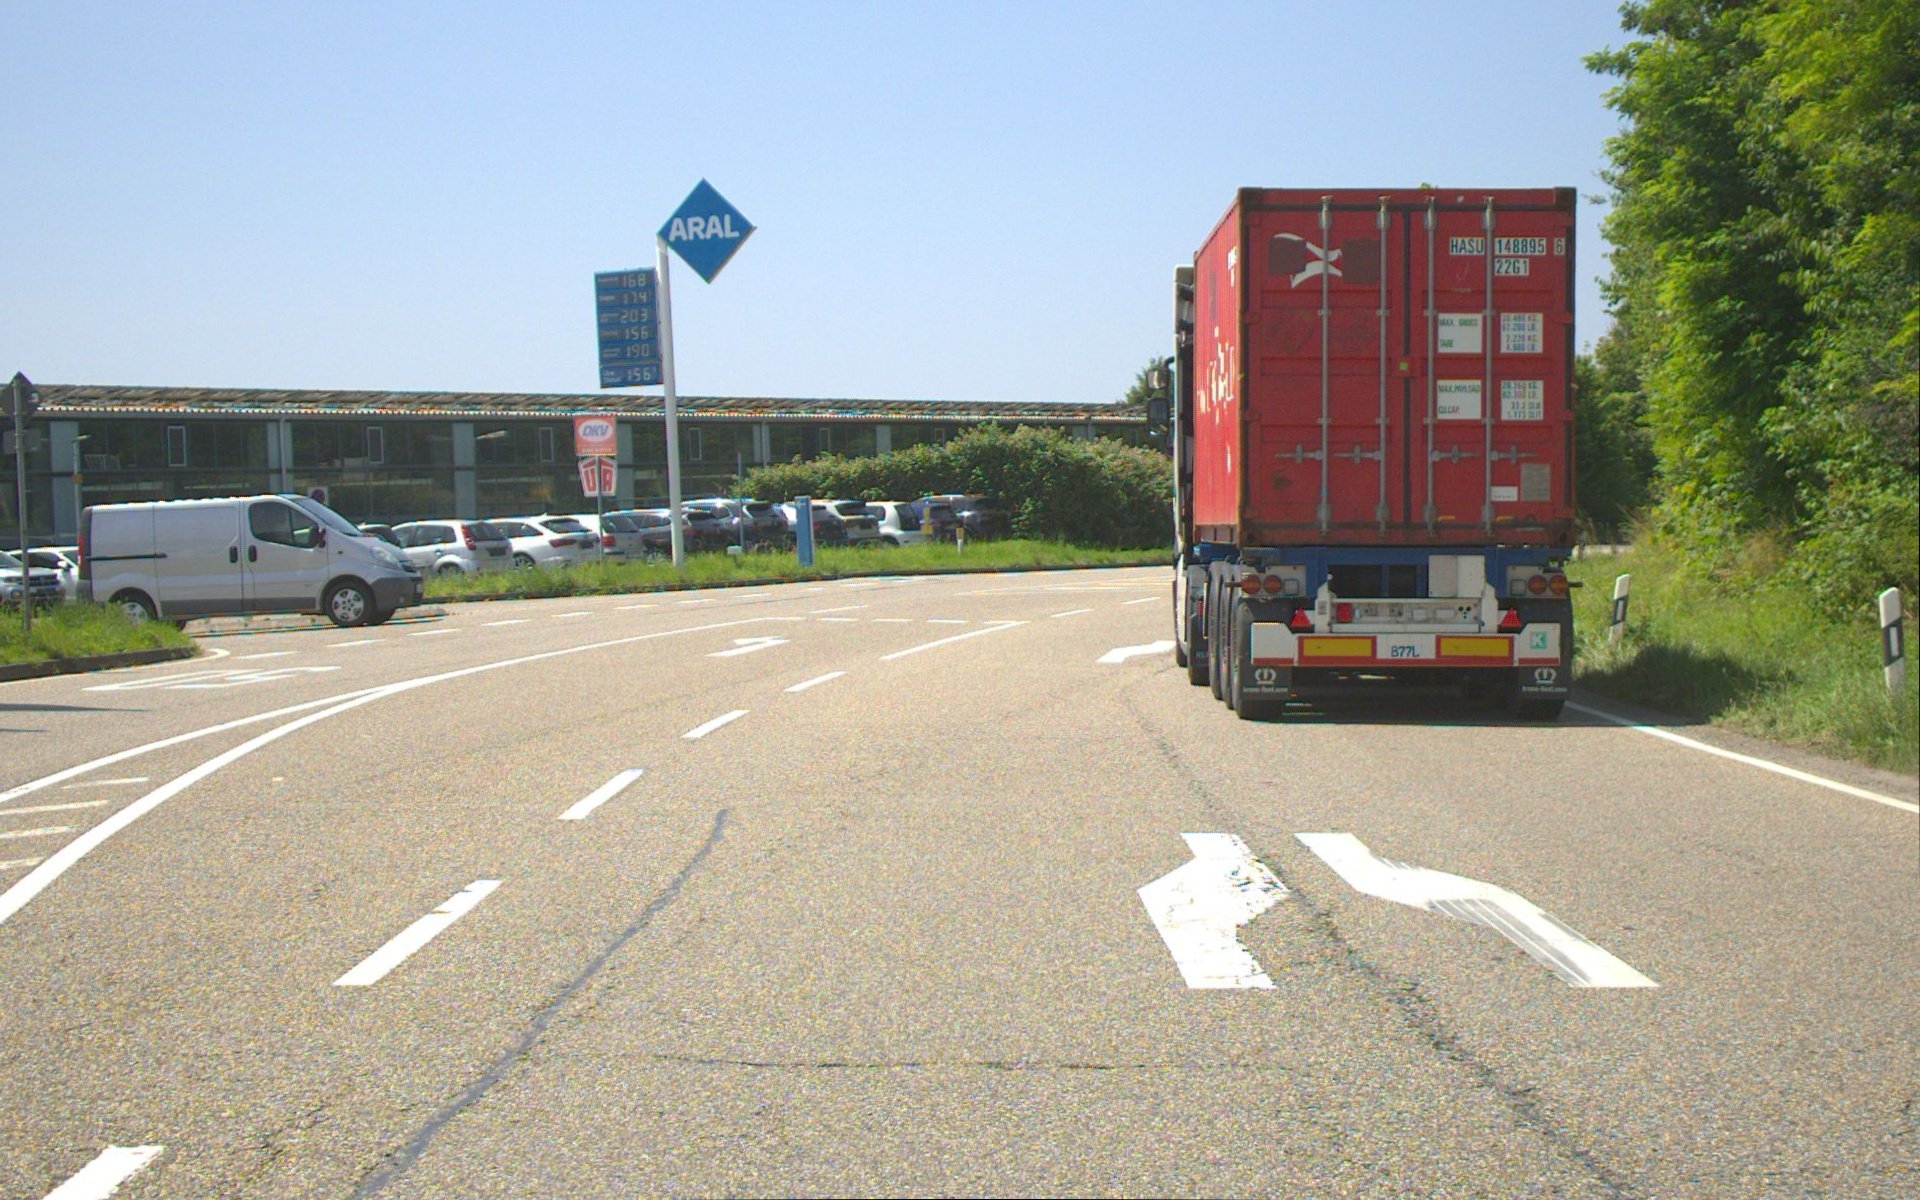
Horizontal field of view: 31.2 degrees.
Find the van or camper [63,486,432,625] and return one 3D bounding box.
[{"bbox_3d":[-10.193,-0.640,49.402,4.847,1.898,1.904,-1,0,2],"label":"van or camper"}]

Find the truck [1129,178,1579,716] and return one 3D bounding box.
[{"bbox_3d":[3.146,-1.303,31.269,2.648,3.793,13.360,1,2,1],"label":"truck"}]

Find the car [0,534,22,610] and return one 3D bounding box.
[{"bbox_3d":[-21.352,-0.463,69.125,4.585,1.498,1.997,-2,1,26],"label":"car"}]

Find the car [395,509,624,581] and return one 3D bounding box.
[{"bbox_3d":[-9.251,-1.129,70.660,4.242,1.354,1.997,-1,2,26],"label":"car"}]

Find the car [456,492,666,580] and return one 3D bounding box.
[{"bbox_3d":[-8.490,-1.360,73.100,3.993,1.744,1.932,-1,2,28],"label":"car"}]

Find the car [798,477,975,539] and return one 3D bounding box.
[{"bbox_3d":[-1.845,-2.313,86.393,3.992,1.357,1.818,-2,1,25],"label":"car"}]

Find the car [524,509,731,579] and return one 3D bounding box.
[{"bbox_3d":[-7.249,-1.217,74.903,3.993,1.327,1.997,-2,1,28],"label":"car"}]

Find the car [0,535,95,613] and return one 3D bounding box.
[{"bbox_3d":[-20.193,-0.494,71.011,4.129,1.498,1.997,-2,1,26],"label":"car"}]

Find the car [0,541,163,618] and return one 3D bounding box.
[{"bbox_3d":[-19.170,-0.436,73.320,3.993,1.577,1.815,-1,1,27],"label":"car"}]

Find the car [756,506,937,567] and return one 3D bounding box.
[{"bbox_3d":[-2.787,-1.556,84.471,3.992,1.313,1.831,-2,1,26],"label":"car"}]

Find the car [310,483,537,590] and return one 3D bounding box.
[{"bbox_3d":[-10.704,-1.267,68.590,3.992,2.007,1.997,-1,1,26],"label":"car"}]

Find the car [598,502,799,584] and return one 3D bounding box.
[{"bbox_3d":[-5.806,-1.258,76.343,3.993,1.744,1.997,0,1,28],"label":"car"}]

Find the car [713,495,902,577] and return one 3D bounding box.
[{"bbox_3d":[-3.642,-1.533,82.226,3.993,1.744,1.997,-2,1,28],"label":"car"}]
